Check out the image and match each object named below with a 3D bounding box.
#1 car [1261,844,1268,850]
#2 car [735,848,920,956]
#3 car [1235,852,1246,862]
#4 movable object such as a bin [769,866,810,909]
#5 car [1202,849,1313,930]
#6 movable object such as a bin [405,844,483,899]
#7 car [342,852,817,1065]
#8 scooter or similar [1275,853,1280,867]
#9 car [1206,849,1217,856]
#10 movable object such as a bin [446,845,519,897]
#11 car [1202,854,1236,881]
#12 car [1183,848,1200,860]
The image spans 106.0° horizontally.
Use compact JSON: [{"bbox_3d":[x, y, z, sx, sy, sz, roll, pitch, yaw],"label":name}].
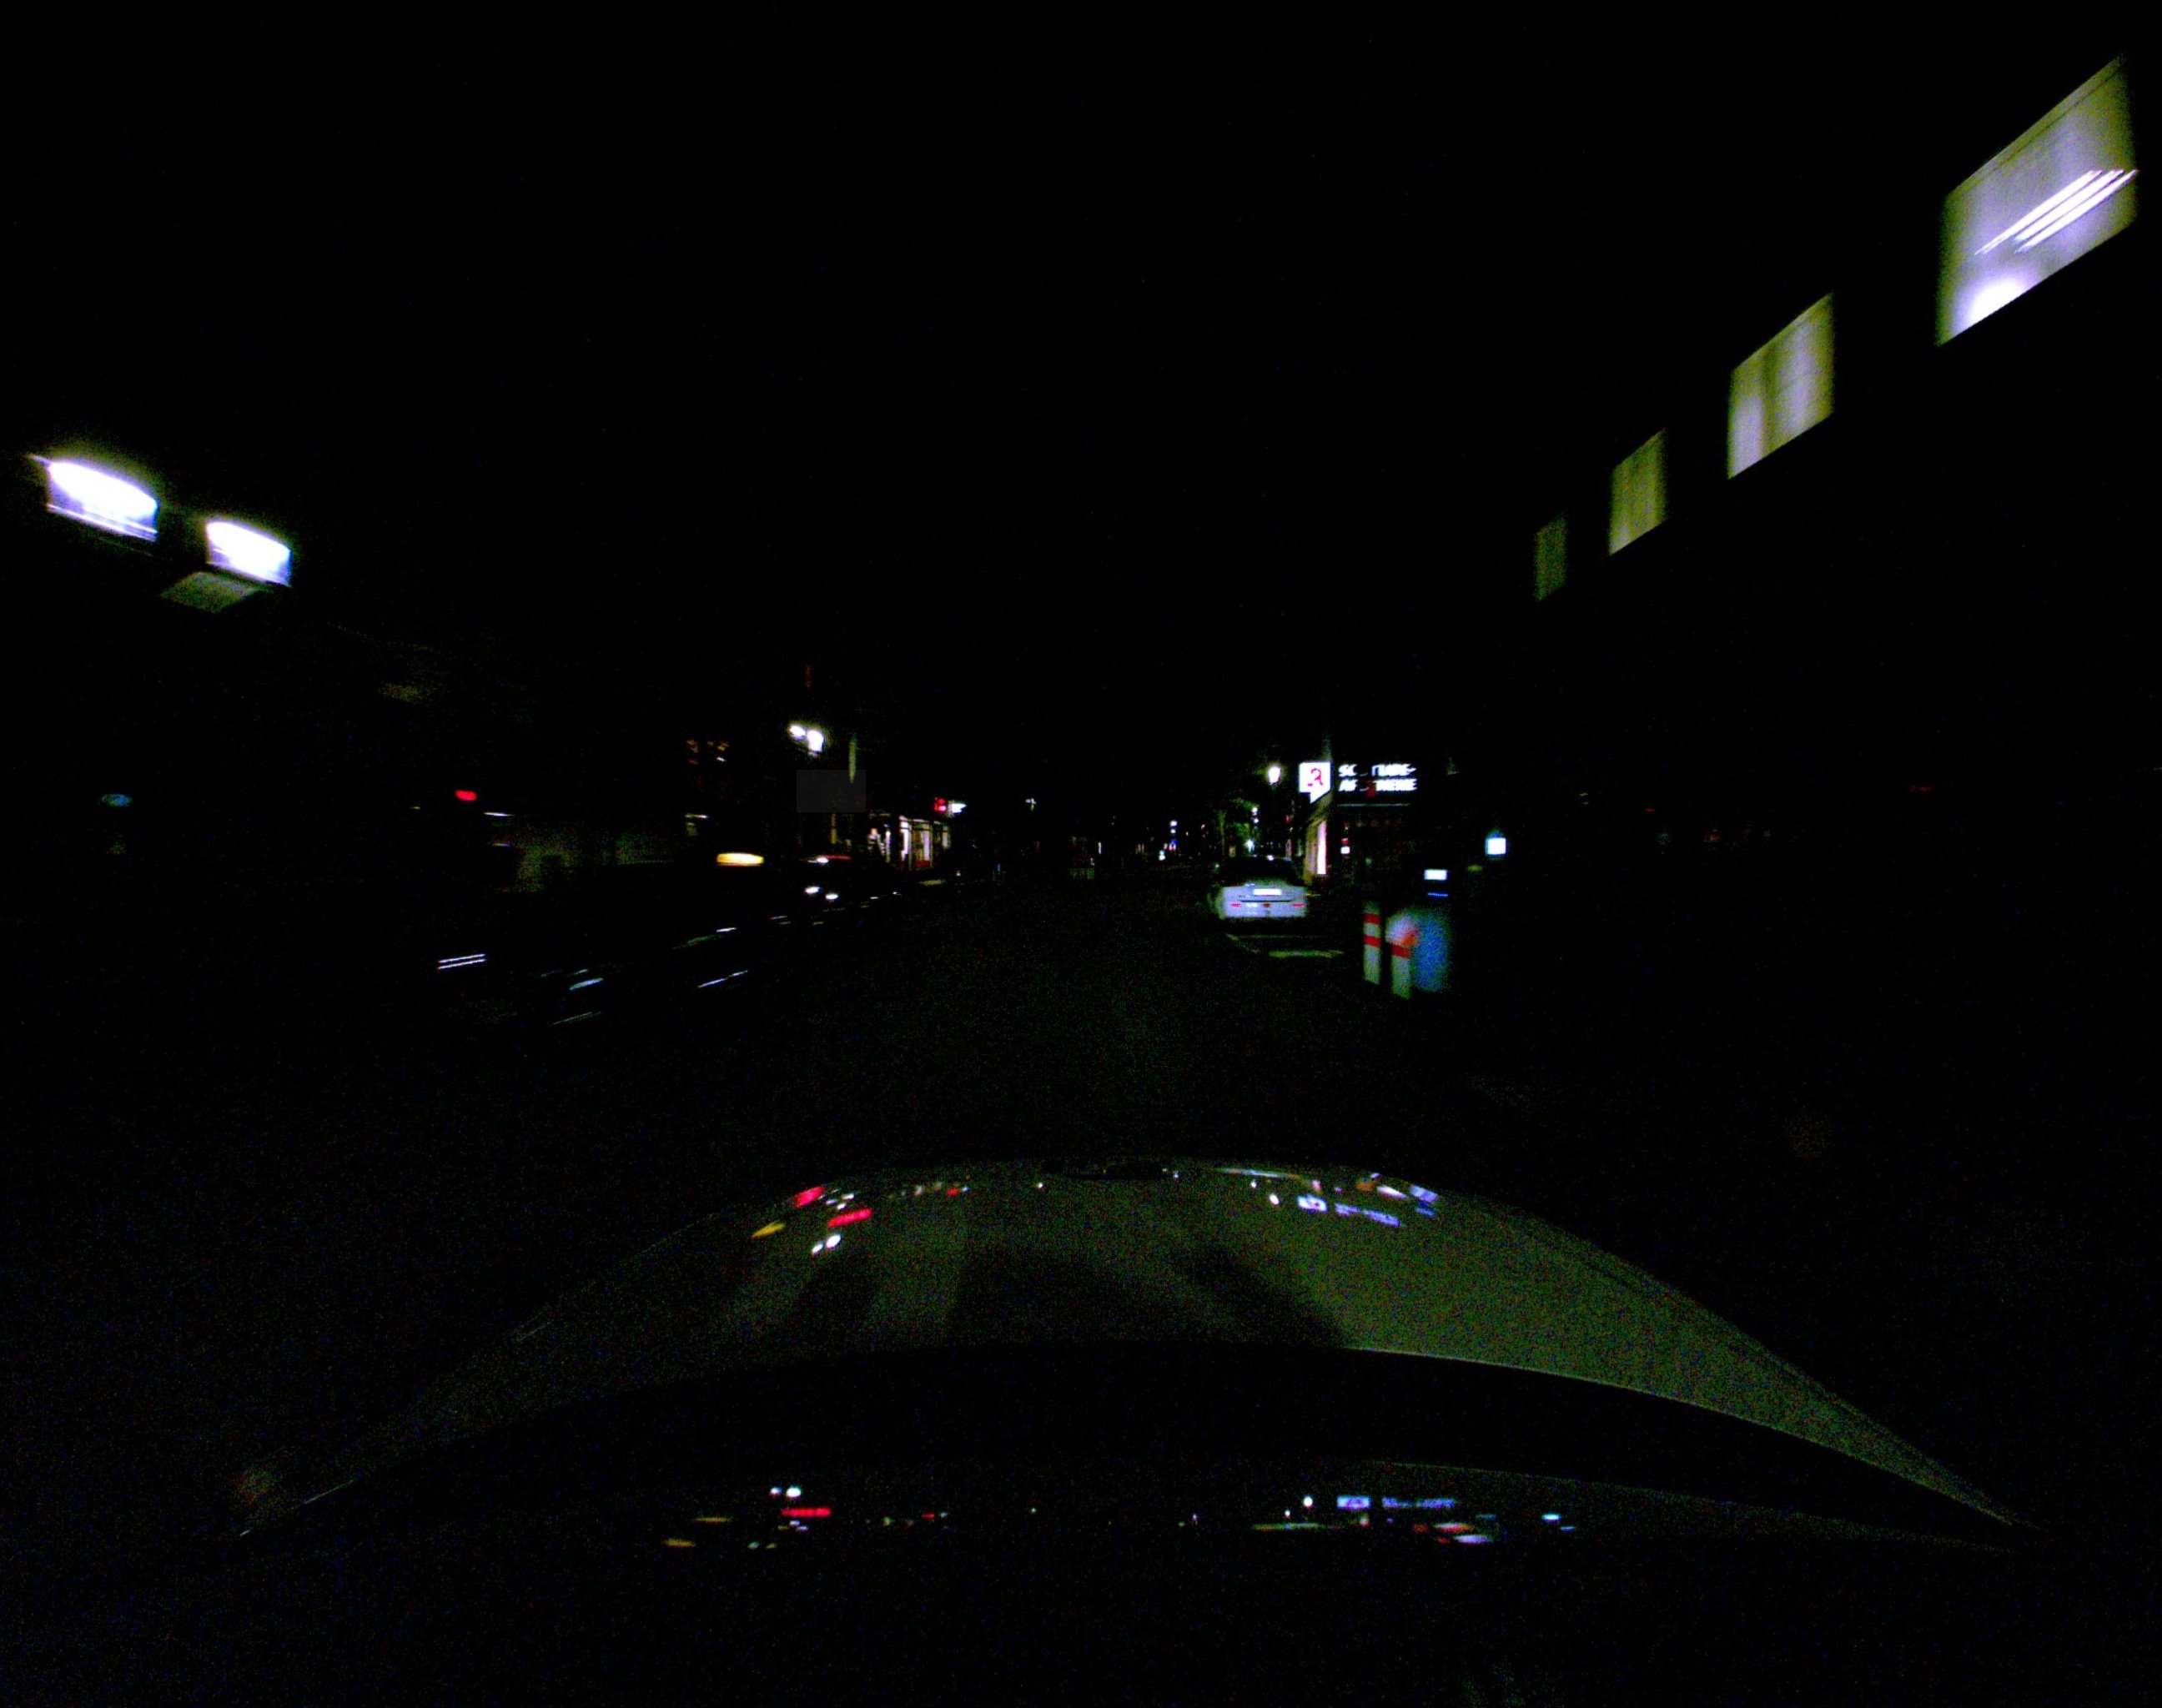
[{"bbox_3d":[51.226,-2.052,227.047,1.762,1.652,4.381,-1,1,14],"label":"car"},{"bbox_3d":[-4.342,0.719,14.843,1.752,1.637,4.816,0,0,1],"label":"car"},{"bbox_3d":[25.022,0.449,127.979,1.664,1.459,3.687,-1,0,11],"label":"car"},{"bbox_3d":[-7.389,0.847,20.664,0.744,1.065,0.793,0,-1,2],"label":"movable object such as a bin"},{"bbox_3d":[3.615,0.689,17.425,1.734,1.487,4.642,0,-1,5],"label":"car"},{"bbox_3d":[-17.417,0.481,22.301,1.032,1.444,1.287,1,-1,4],"label":"movable object such as a bin"},{"bbox_3d":[-4.452,0.762,8.369,1.899,1.542,4.781,1,0,0],"label":"car"},{"bbox_3d":[17.949,0.537,74.401,0.370,1.277,1.310,-1,-1,14],"label":"scooter or similar"},{"bbox_3d":[28.410,-0.312,177.339,1.900,1.370,4.475,-1,1,15],"label":"car"},{"bbox_3d":[-17.344,0.478,23.638,1.126,1.457,1.229,1,-1,4],"label":"movable object such as a bin"},{"bbox_3d":[7.872,0.722,46.716,1.725,1.440,4.506,0,0,7],"label":"car"},{"bbox_3d":[16.910,-0.036,124.130,2.004,1.691,5.021,1,1,13],"label":"car"}]
